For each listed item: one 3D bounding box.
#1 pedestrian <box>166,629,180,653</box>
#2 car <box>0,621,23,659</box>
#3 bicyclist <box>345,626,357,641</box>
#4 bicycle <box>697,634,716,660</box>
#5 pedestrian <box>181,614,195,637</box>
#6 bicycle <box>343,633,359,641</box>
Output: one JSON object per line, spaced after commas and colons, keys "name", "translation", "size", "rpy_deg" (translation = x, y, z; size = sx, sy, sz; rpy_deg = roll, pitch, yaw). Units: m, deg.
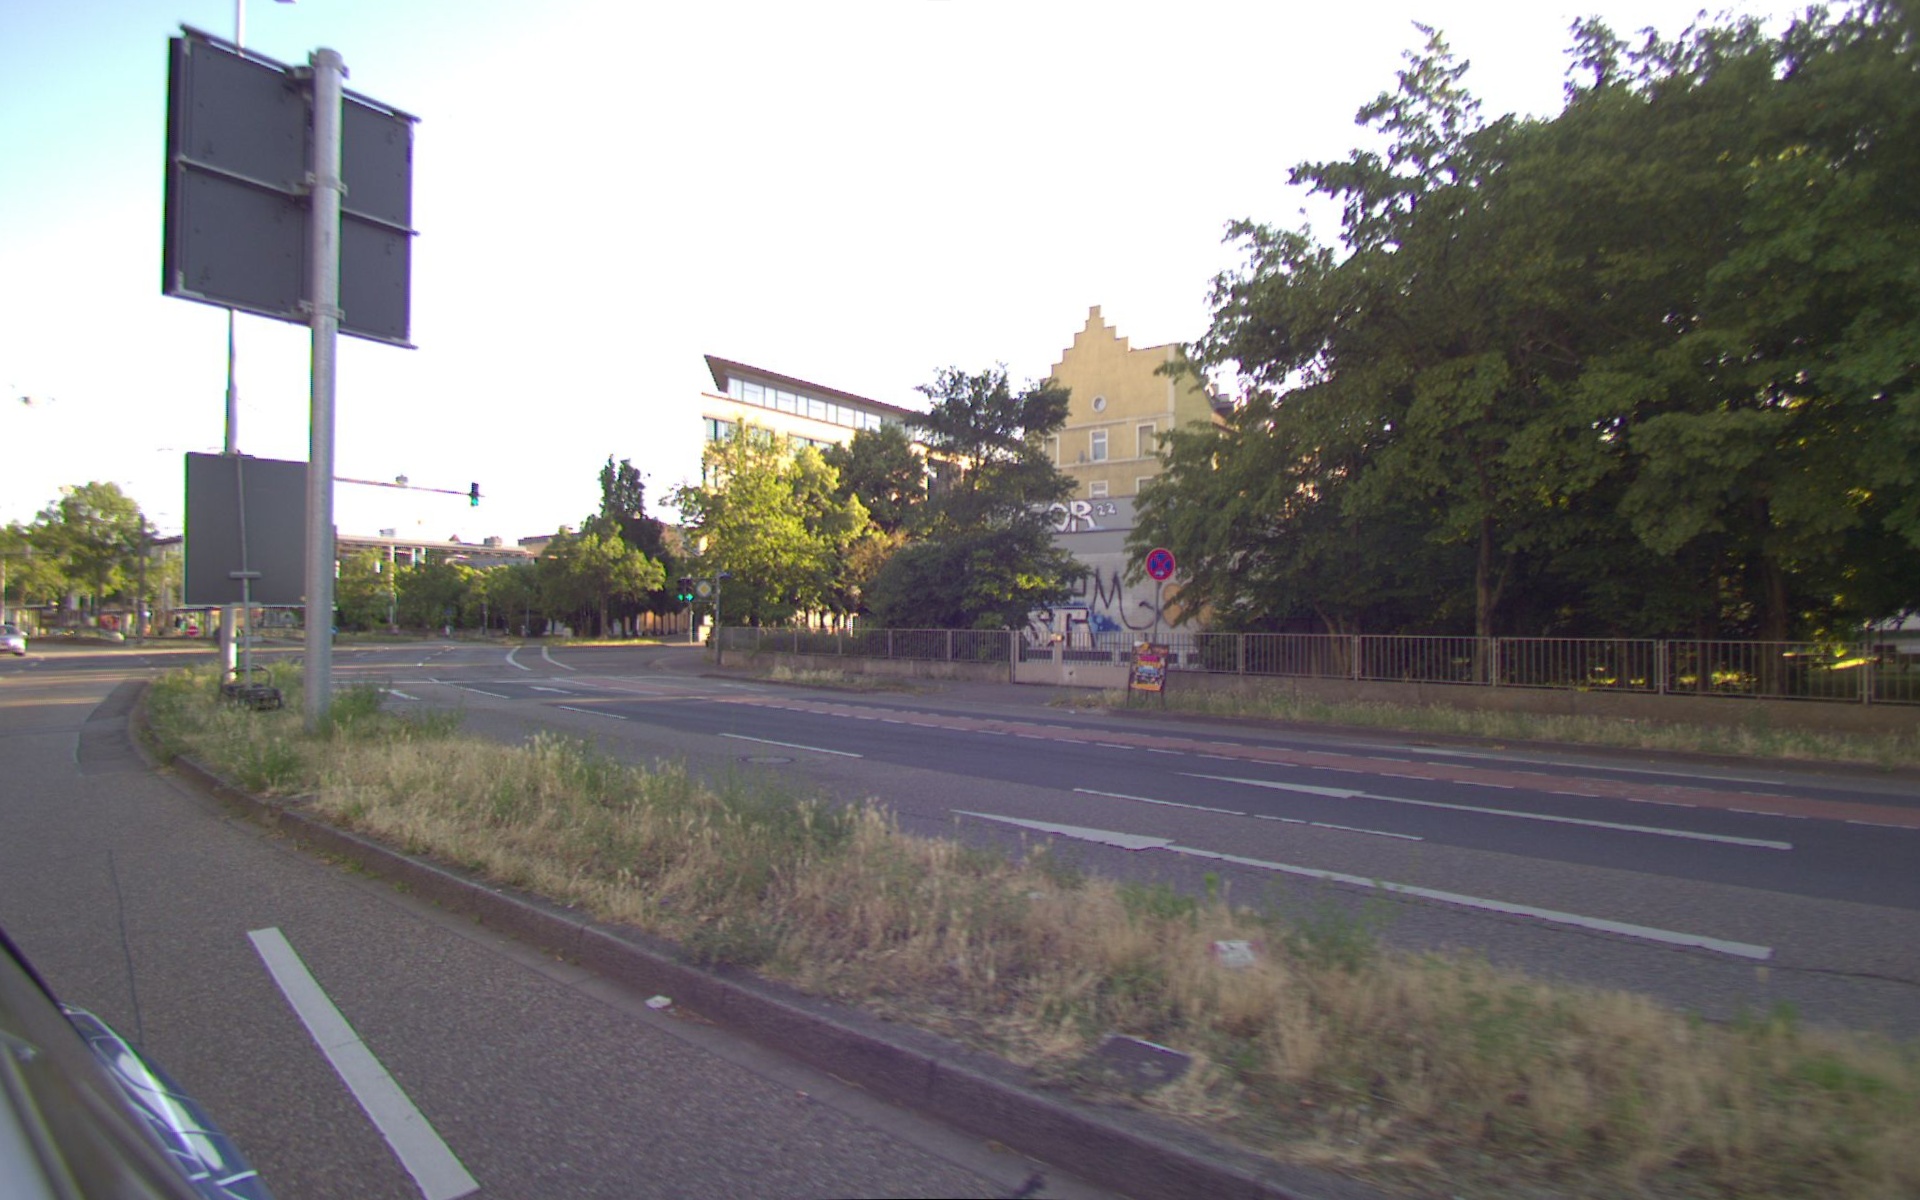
{"name": "pedestrian", "translation": [-68.912, 3.566, 88.629], "size": [1.126, 2.029, 0.762], "rpy_deg": [-1, -2, 40]}
{"name": "car", "translation": [-43.739, 1.782, 45.616], "size": [4.001, 1.678, 1.971], "rpy_deg": [-1, -2, 44]}
{"name": "bicyclist", "translation": [-62.611, 3.419, 104.054], "size": [0.827, 1.479, 0.760], "rpy_deg": [-1, -2, 40]}
{"name": "bicycle", "translation": [-11.403, 2.097, 45.605], "size": [0.550, 1.151, 1.724], "rpy_deg": [0, -2, -5]}
{"name": "pedestrian", "translation": [-67.830, 2.219, 88.924], "size": [1.126, 2.029, 0.762], "rpy_deg": [-1, -2, 40]}
{"name": "bicycle", "translation": [-62.628, 3.820, 104.062], "size": [1.964, 0.827, 0.766], "rpy_deg": [-1, -2, 40]}
